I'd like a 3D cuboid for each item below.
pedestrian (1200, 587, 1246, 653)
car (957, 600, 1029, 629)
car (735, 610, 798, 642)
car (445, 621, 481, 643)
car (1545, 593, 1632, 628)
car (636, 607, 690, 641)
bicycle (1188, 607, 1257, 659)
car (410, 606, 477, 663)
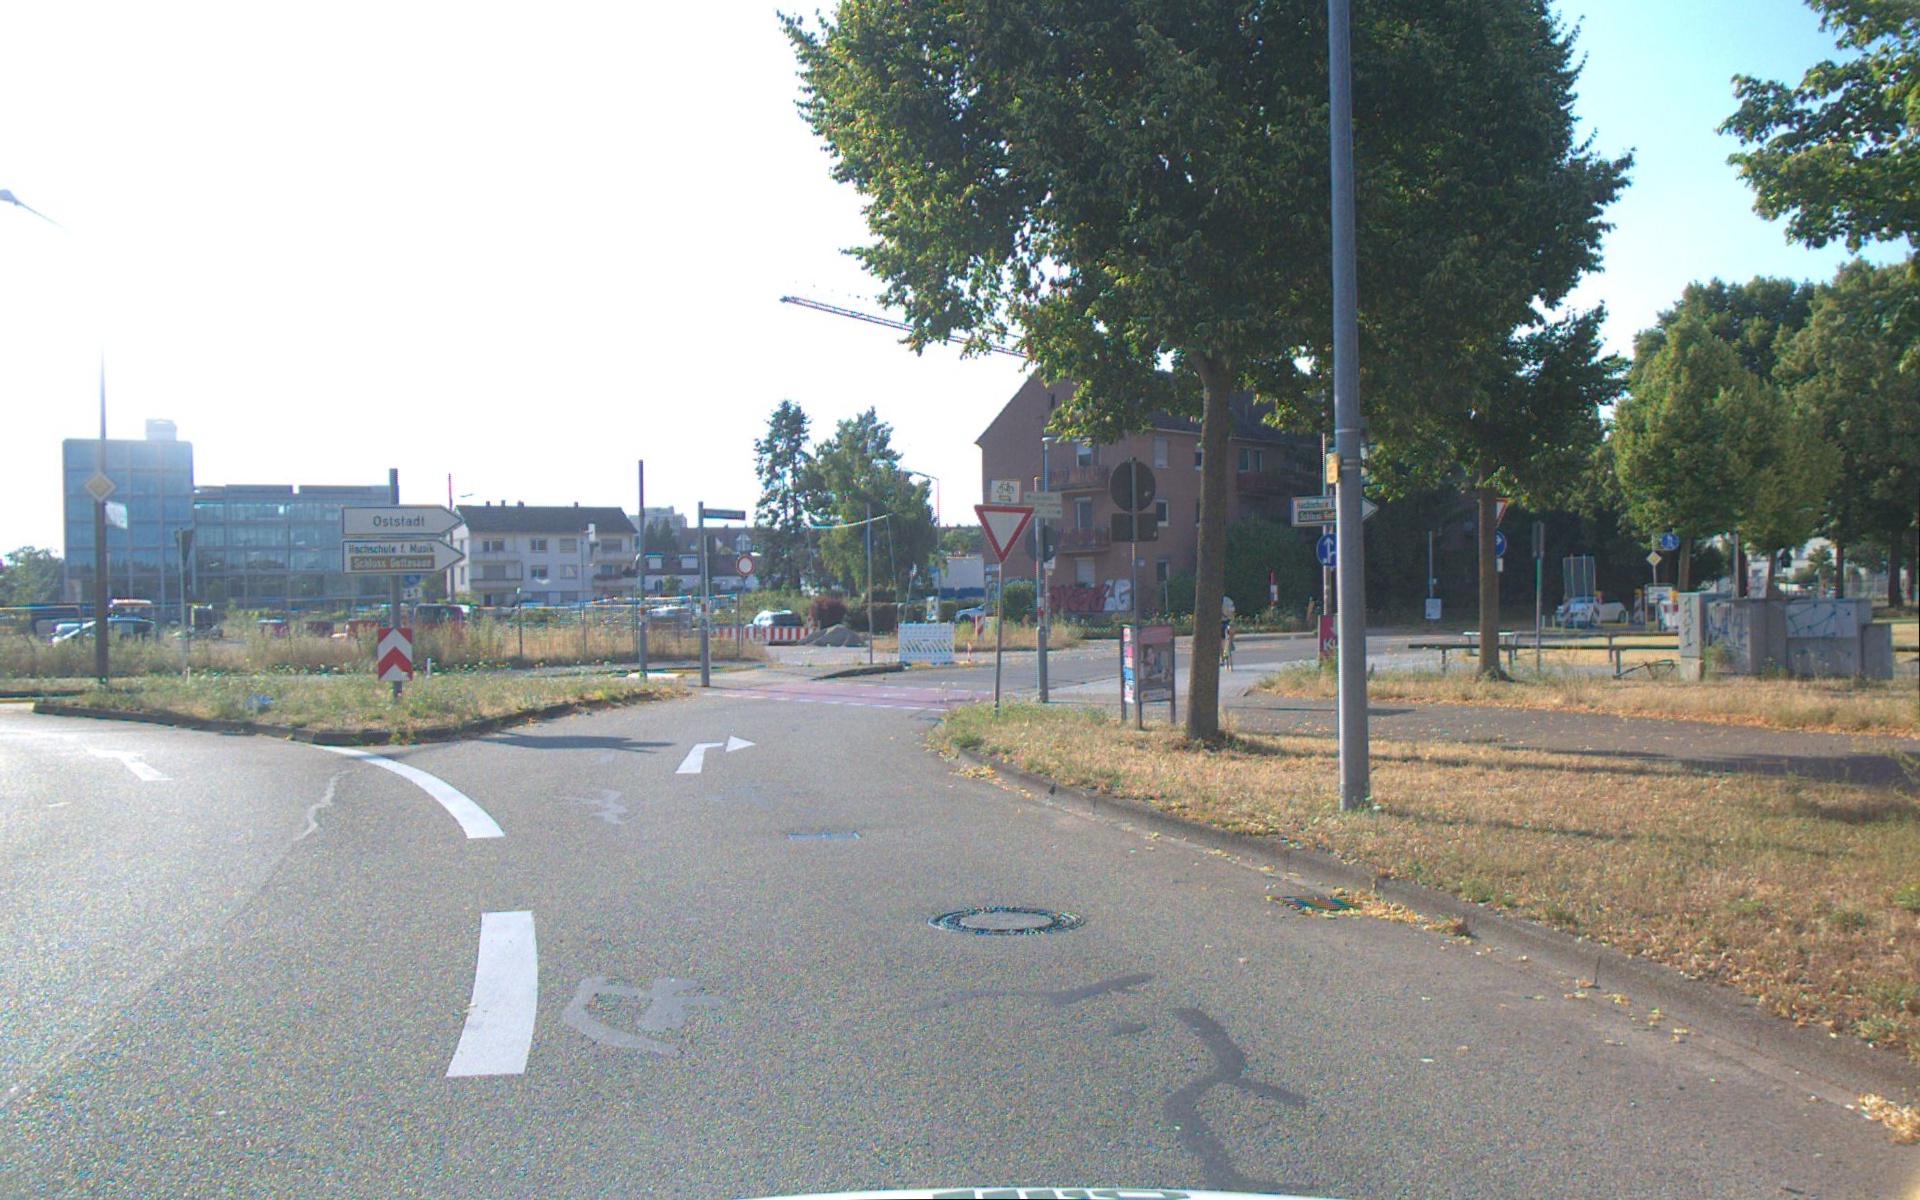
[{"bbox_3d":[5.846,0.449,36.787,0.642,1.416,0.762,-3,-1,45],"label":"pedestrian"},{"bbox_3d":[1.934,0.830,96.549,3.902,1.557,2.002,-2,0,10],"label":"car"},{"bbox_3d":[-10.102,1.353,86.324,1.971,1.579,3.963,-1,0,-28],"label":"car"},{"bbox_3d":[-43.123,2.769,143.493,2.123,1.870,4.318,-1,0,-30],"label":"car"},{"bbox_3d":[27.916,0.451,73.477,3.572,1.446,1.748,-1,1,-28],"label":"car"},{"bbox_3d":[-17.957,1.457,99.832,1.844,1.982,3.956,-1,0,-32],"label":"car"},{"bbox_3d":[5.841,0.713,36.738,0.525,1.074,1.900,0,1,44],"label":"bicycle"},{"bbox_3d":[-19.623,1.279,63.045,1.959,2.049,5.295,-1,0,-13],"label":"car"}]
